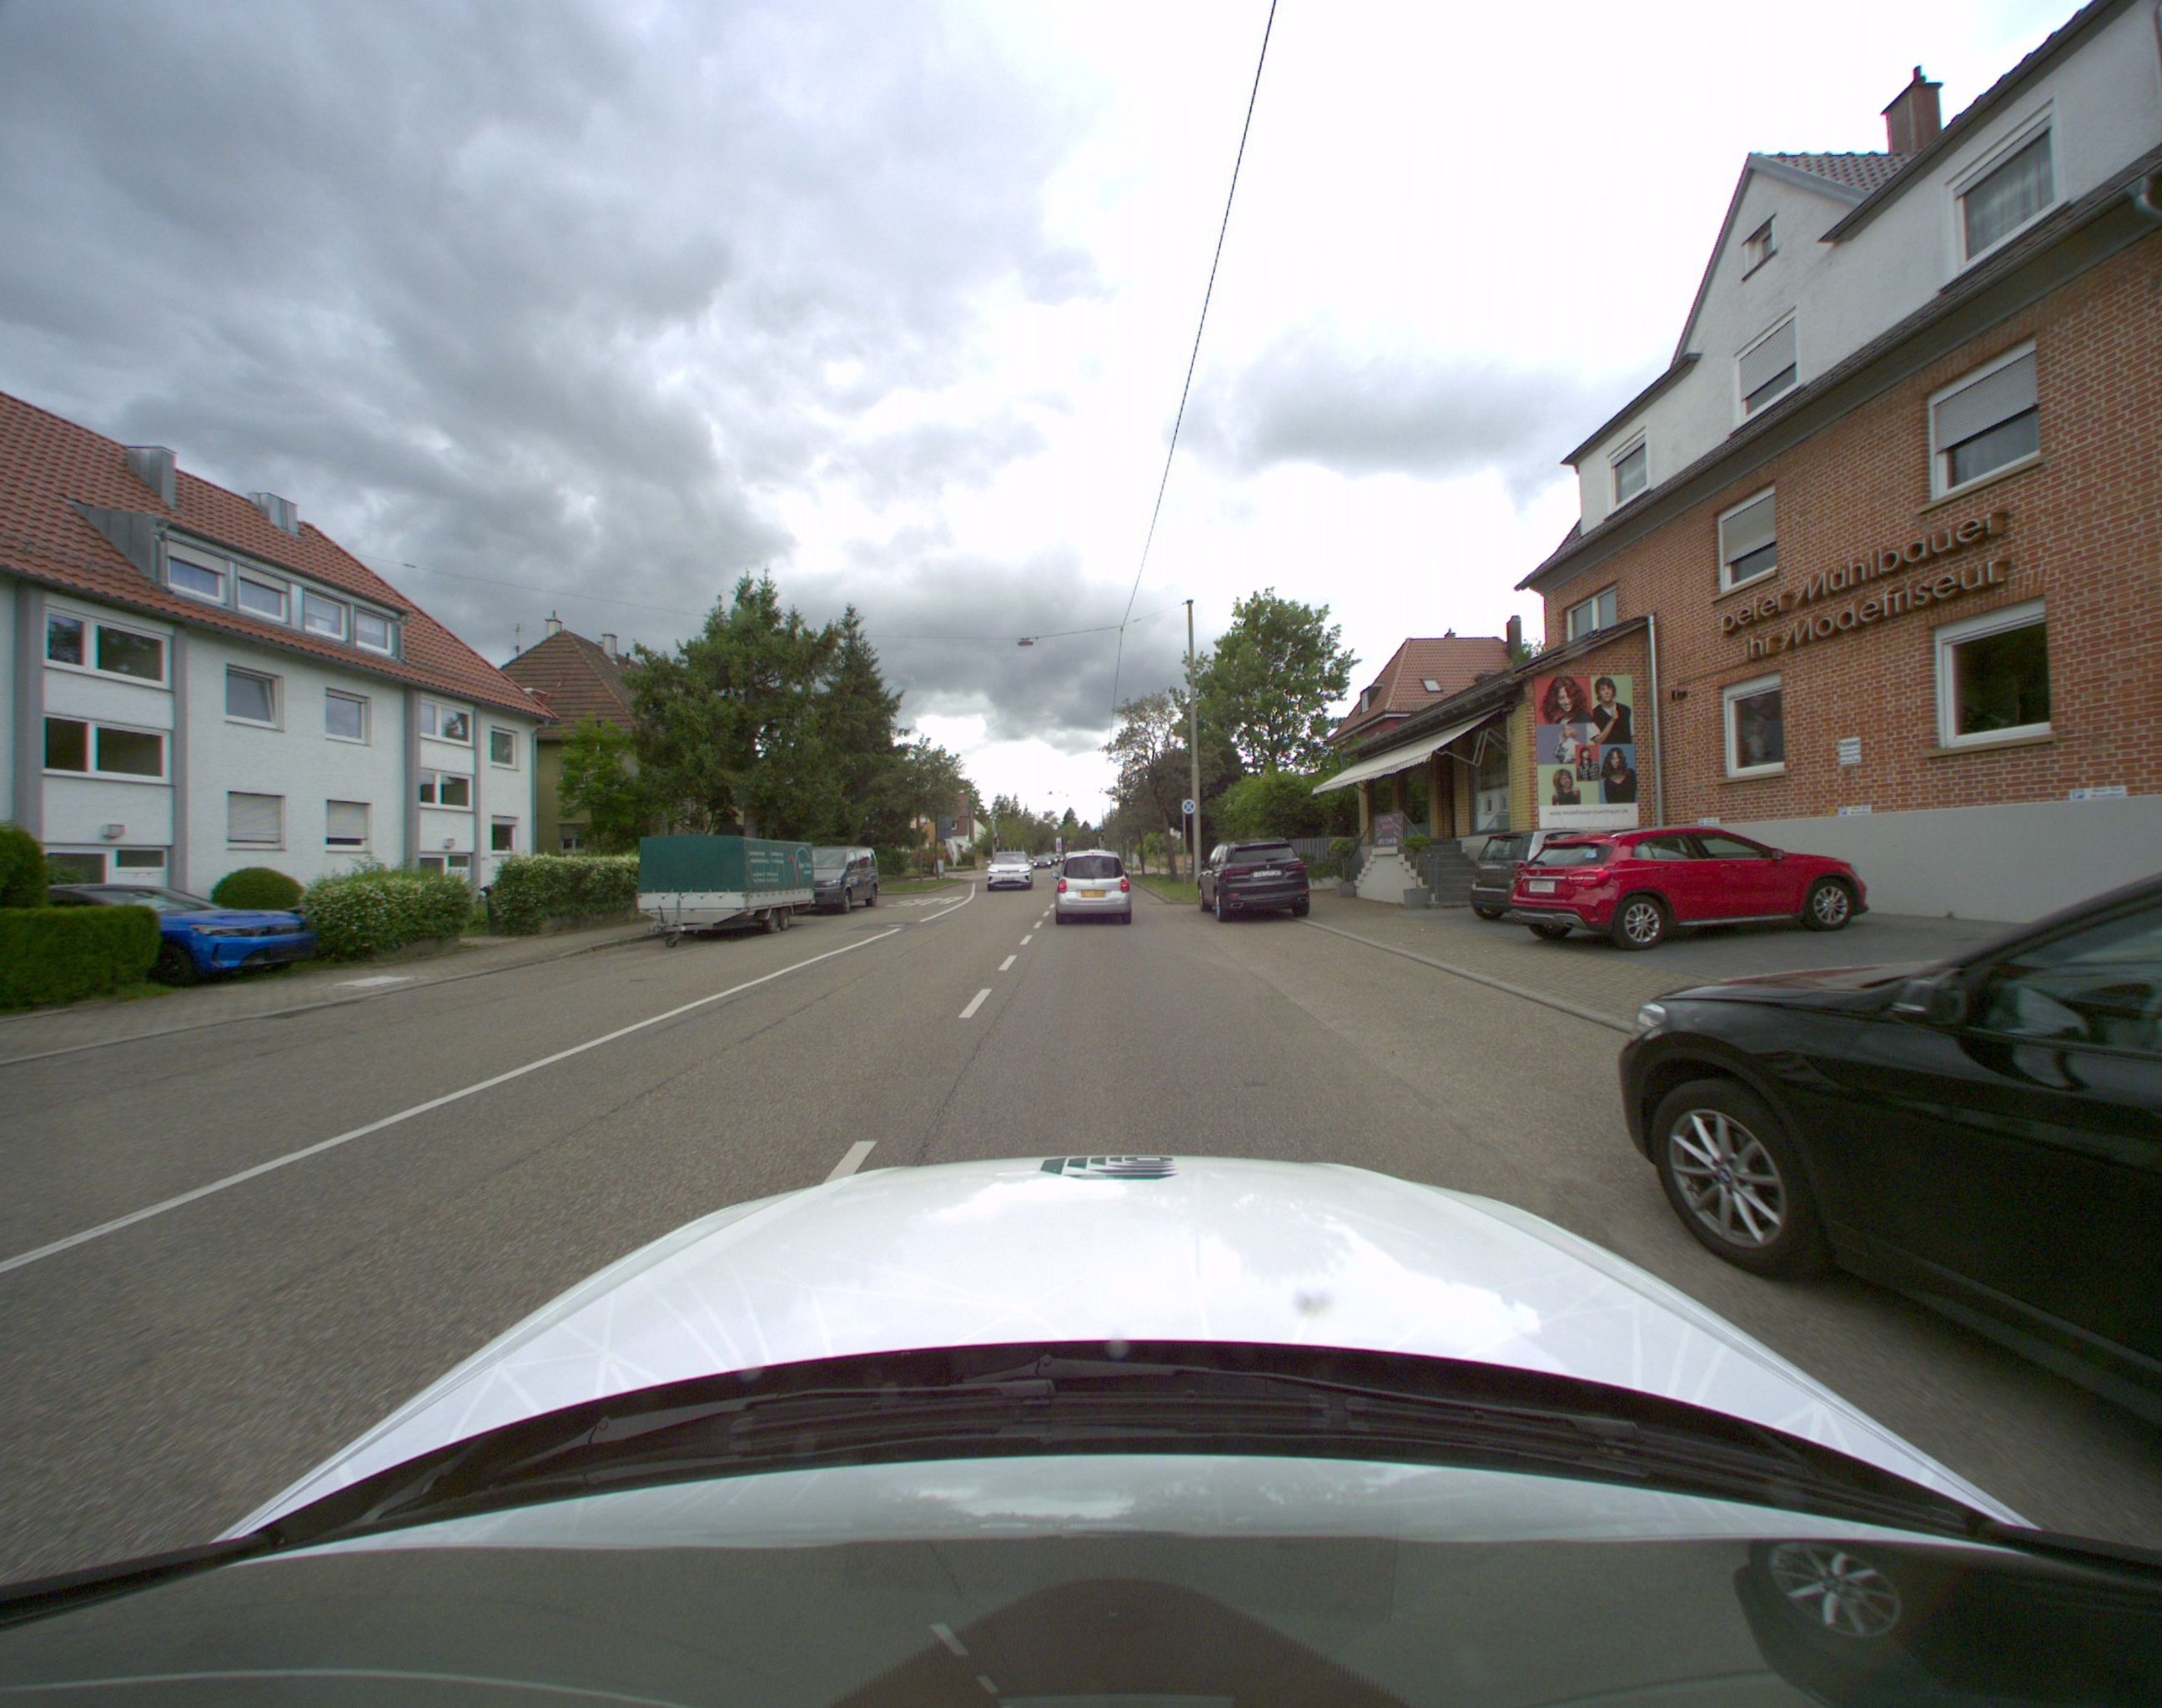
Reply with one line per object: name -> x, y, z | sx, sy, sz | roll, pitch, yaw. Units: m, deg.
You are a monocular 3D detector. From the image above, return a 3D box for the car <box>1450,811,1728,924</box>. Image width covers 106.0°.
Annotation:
car -> 8.832, 0.213, 14.305 | 3.981, 1.560, 1.500 | -5, 0, -5

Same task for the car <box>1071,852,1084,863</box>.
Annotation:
car -> -0.473, 0.537, 125.390 | 1.823, 1.675, 3.575 | -2, 0, 1

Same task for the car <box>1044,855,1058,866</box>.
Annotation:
car -> -3.866, 0.875, 105.636 | 1.717, 1.411, 3.996 | 0, -1, -2

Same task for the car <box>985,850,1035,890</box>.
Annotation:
car -> -3.008, 0.688, 35.263 | 1.900, 1.618, 3.997 | -1, -1, -2

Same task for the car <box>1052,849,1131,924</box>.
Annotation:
car -> 0.281, 0.695, 18.886 | 1.624, 1.557, 4.001 | 0, -1, 2

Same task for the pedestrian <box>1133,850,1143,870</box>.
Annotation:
pedestrian -> 4.623, 0.484, 66.417 | 0.703, 1.646, 0.773 | -2, 0, 0

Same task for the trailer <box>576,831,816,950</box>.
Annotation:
trailer -> -7.759, 0.677, 17.334 | 2.305, 2.087, 5.871 | 0, -1, 0

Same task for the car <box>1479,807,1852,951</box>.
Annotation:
car -> 7.936, 0.297, 11.258 | 3.984, 1.496, 1.805 | -5, 0, -8

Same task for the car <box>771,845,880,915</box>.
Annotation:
car -> -7.600, 0.738, 24.719 | 1.882, 1.922, 4.560 | 0, -1, 0

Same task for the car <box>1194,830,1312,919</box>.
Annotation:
car -> 3.797, 0.445, 18.642 | 1.806, 1.742, 4.000 | -3, -1, 0

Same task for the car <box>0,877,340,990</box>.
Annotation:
car -> -12.664, 0.999, 10.770 | 3.986, 1.338, 1.573 | 0, -2, -9

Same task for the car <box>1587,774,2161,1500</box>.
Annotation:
car -> 3.143, 0.591, 1.614 | 1.658, 1.564, 4.096 | -2, 0, -1

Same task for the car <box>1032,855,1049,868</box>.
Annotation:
car -> -4.368, 0.823, 88.018 | 1.717, 1.411, 3.996 | 0, -1, -2
